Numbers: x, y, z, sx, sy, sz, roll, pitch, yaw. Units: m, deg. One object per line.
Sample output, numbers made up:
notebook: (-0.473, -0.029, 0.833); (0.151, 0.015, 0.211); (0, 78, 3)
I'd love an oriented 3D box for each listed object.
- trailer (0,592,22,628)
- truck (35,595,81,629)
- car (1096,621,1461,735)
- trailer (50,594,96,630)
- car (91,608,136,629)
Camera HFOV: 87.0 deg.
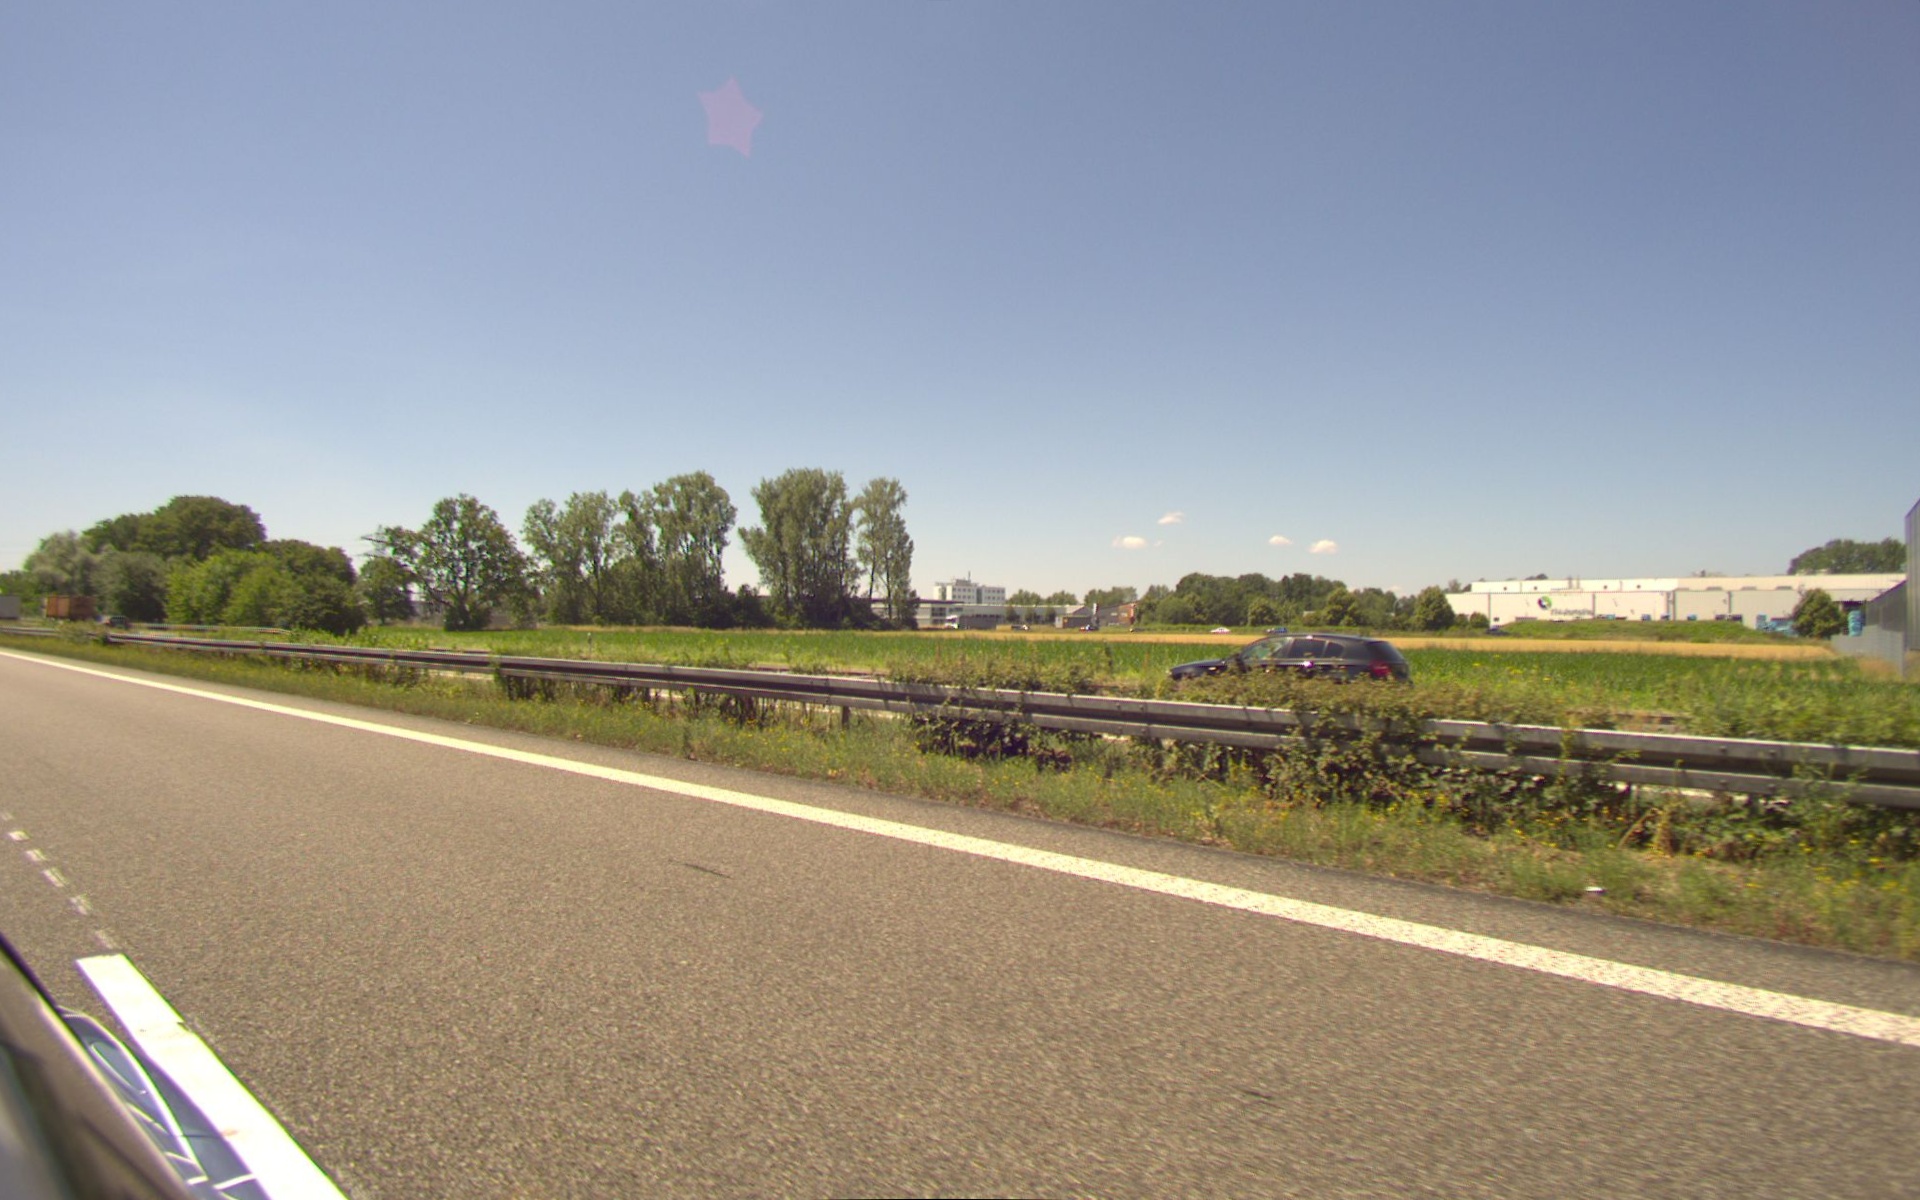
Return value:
trailer: (-124.315, 1.264, 130.659); (13.319, 4.456, 3.162); (0, -2, 41)
truck: (-110.024, 1.519, 123.436); (10.821, 3.914, 2.621); (-1, -4, 41)
car: (5.250, 1.195, 17.330); (5.660, 1.652, 1.973); (-1, -2, 41)
trailer: (-102.650, 1.404, 117.042); (8.656, 3.950, 2.631); (-1, -4, 41)
car: (-68.491, 1.498, 81.881); (5.550, 1.693, 1.972); (-1, -2, 41)
